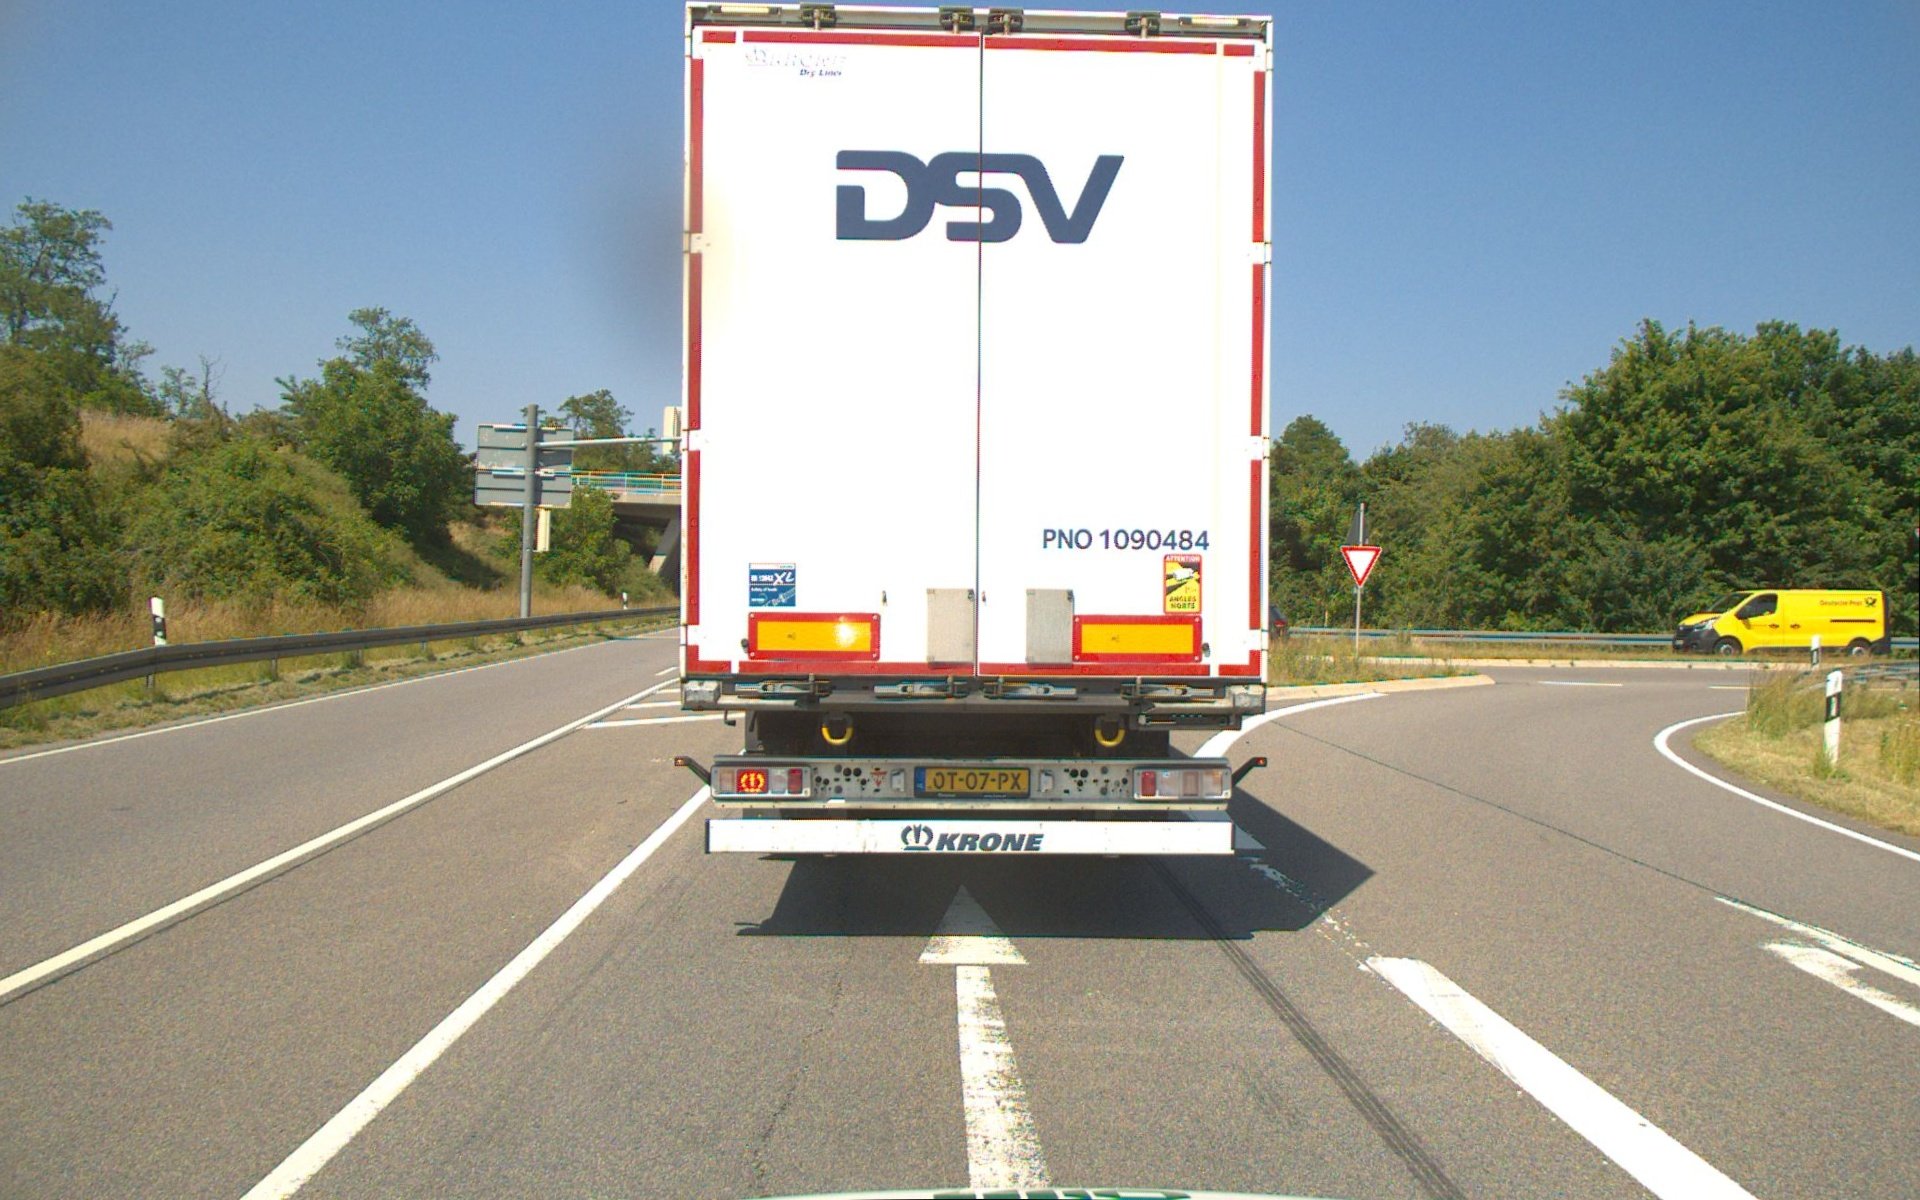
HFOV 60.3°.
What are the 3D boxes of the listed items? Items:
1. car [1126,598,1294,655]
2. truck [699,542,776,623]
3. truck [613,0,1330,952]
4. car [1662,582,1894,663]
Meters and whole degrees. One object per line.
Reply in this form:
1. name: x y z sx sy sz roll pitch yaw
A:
1. car: 7.116 0.741 46.895 4.582 1.540 1.855 1 -1 12
2. truck: -10.373 -0.760 77.664 2.591 3.600 7.888 1 0 -1
3. truck: -0.056 -0.558 11.784 2.927 4.011 9.872 1 0 -1
4. car: 21.837 0.598 44.289 5.212 2.049 2.000 1 -1 1
